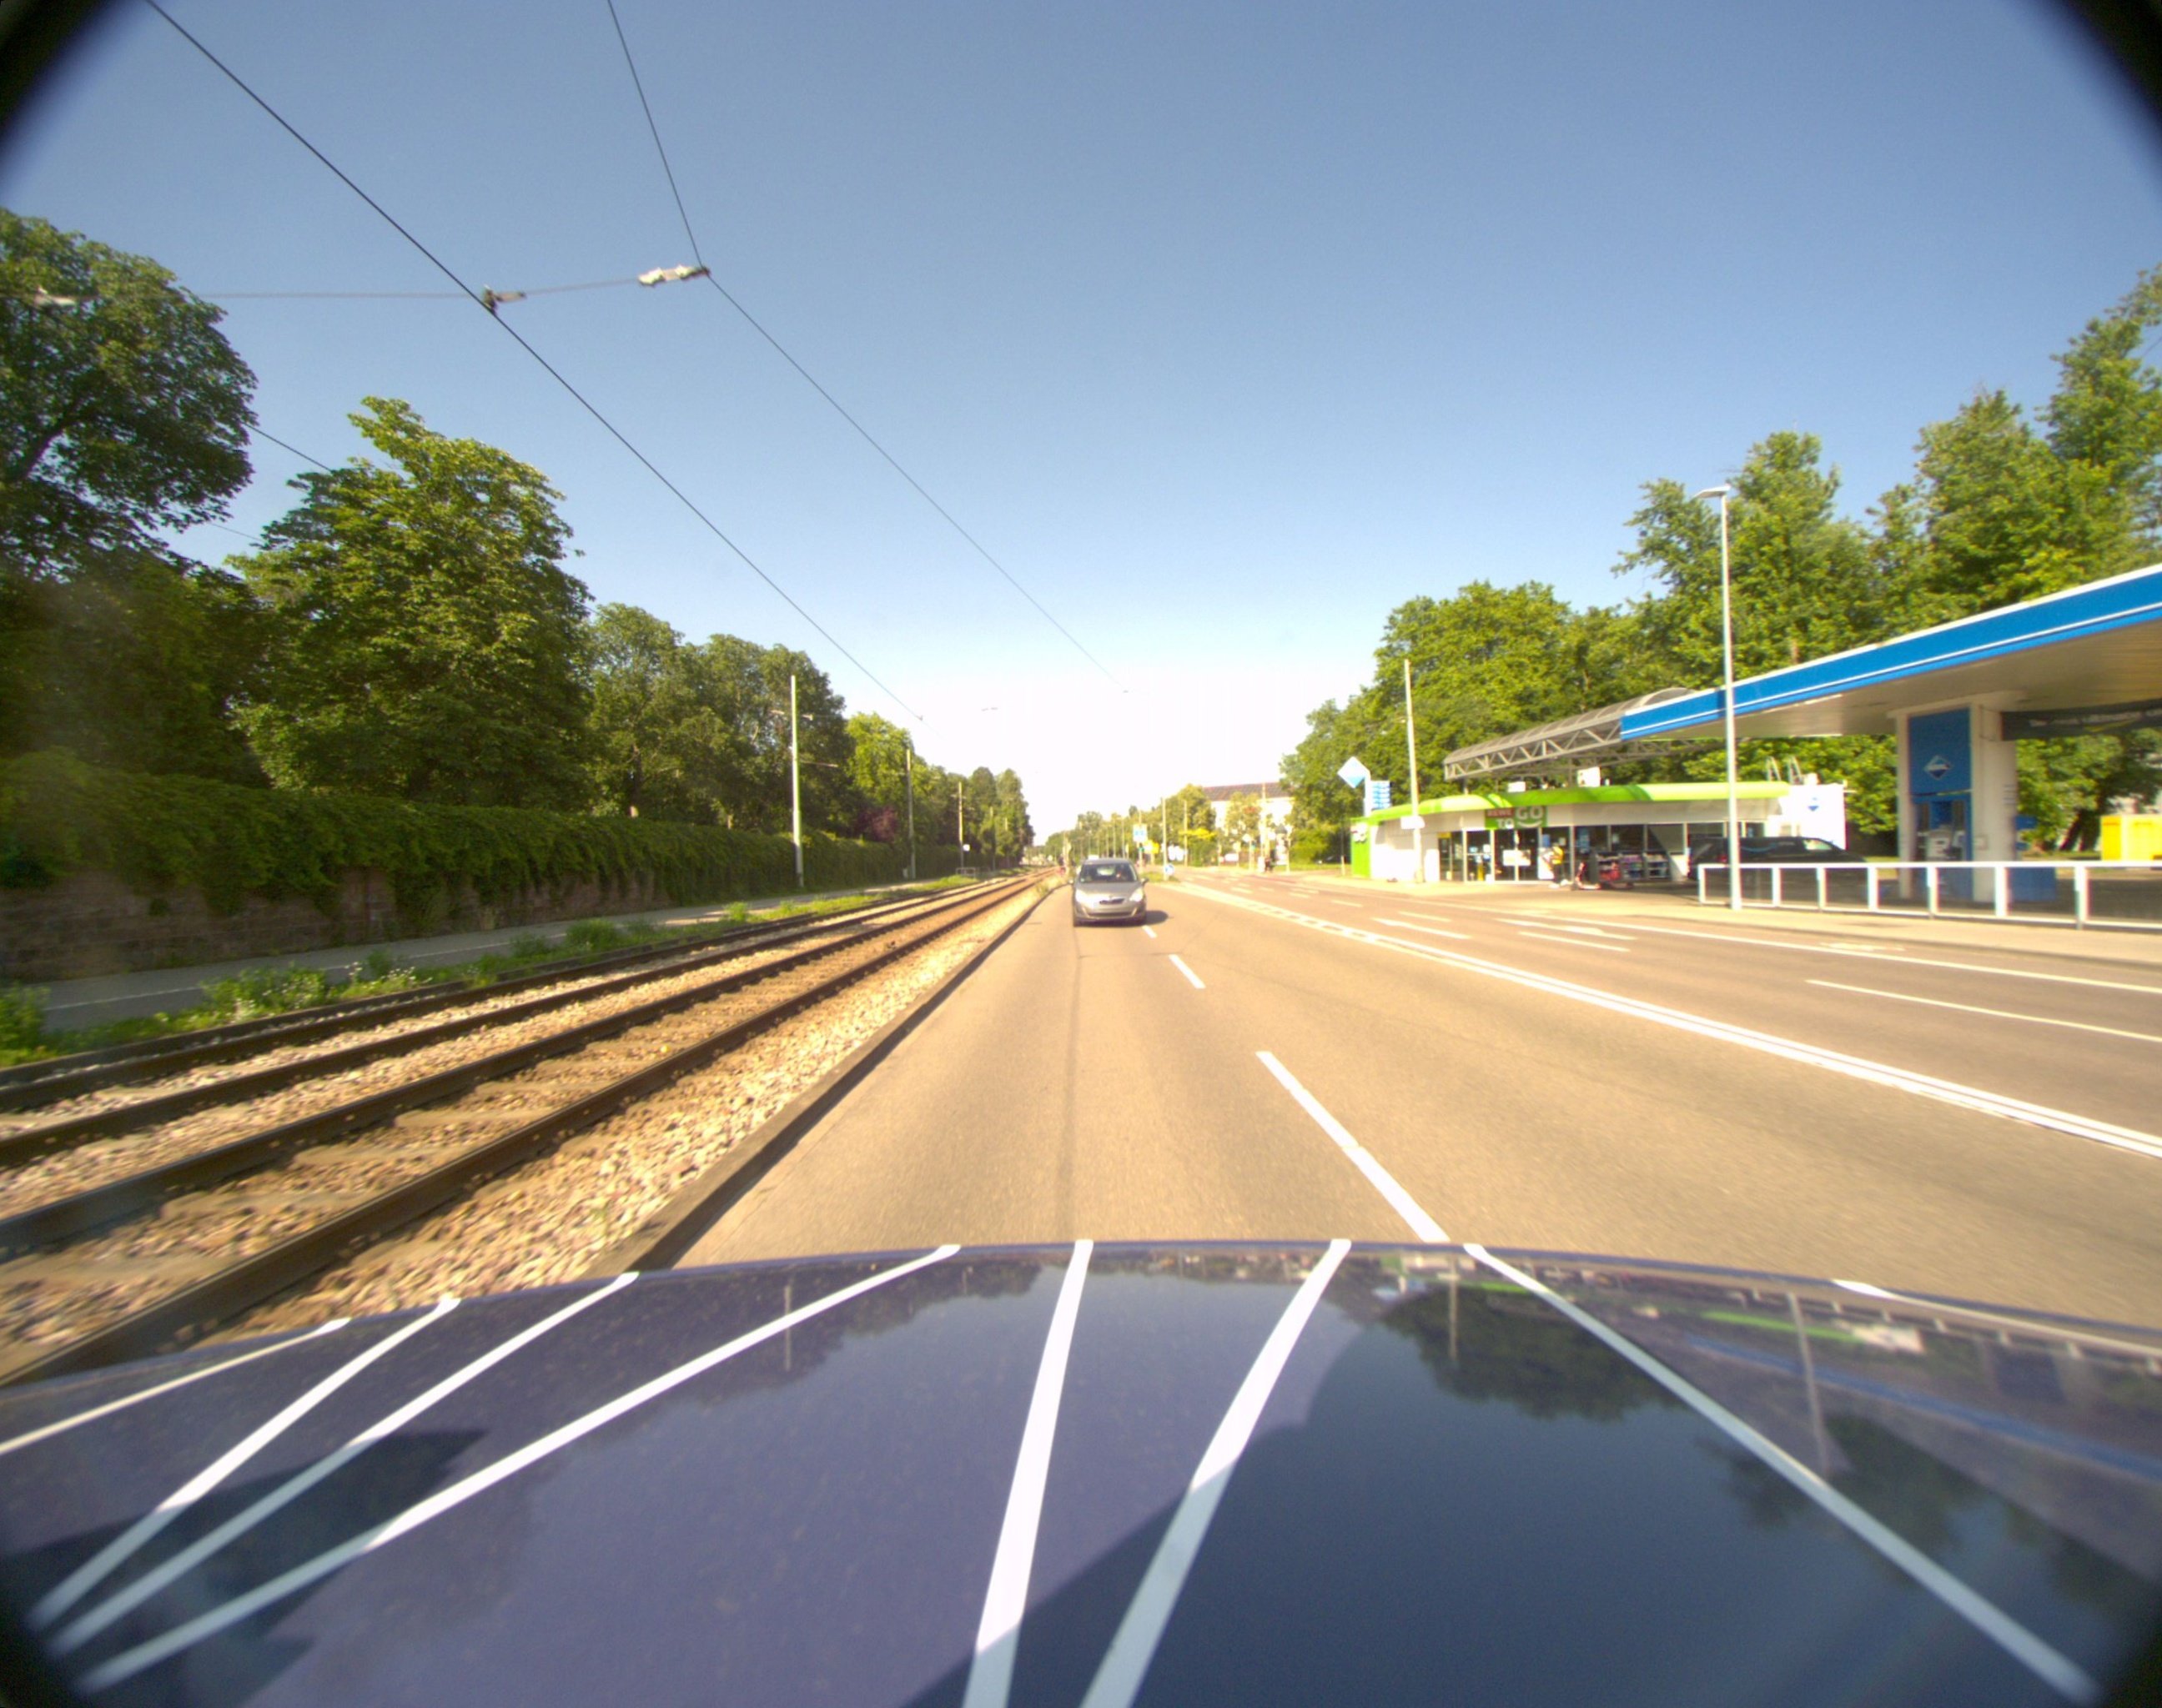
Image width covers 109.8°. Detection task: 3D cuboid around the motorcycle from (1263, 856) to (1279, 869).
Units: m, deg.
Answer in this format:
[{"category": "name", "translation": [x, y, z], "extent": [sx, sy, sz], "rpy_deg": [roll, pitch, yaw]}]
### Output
[{"category": "motorcycle", "translation": [17.938, 0.789, 71.721], "extent": [0.732, 1.220, 2.268], "rpy_deg": [-1, 0, 34]}]

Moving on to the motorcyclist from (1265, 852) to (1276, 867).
[{"category": "motorcyclist", "translation": [17.925, 0.508, 71.716], "extent": [0.732, 1.380, 0.866], "rpy_deg": [-1, 0, 34]}]

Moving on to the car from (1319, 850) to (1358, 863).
[{"category": "car", "translation": [31.753, 0.315, 93.716], "extent": [4.196, 1.434, 1.690], "rpy_deg": [-1, 0, 3]}]

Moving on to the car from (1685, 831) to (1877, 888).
[{"category": "car", "translation": [25.457, 0.215, 27.796], "extent": [5.082, 1.929, 1.858], "rpy_deg": [-1, 0, 5]}]

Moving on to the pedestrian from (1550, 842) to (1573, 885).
[{"category": "pedestrian", "translation": [19.275, 0.374, 30.449], "extent": [0.661, 1.721, 0.606], "rpy_deg": [-1, 0, 42]}]

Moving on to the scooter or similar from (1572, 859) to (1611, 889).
[{"category": "scooter or similar", "translation": [19.357, 0.767, 28.820], "extent": [1.143, 1.110, 0.350], "rpy_deg": [-1, 0, 10]}]

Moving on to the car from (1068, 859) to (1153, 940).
[{"category": "car", "translation": [0.628, 0.953, 17.605], "extent": [1.730, 1.574, 3.763], "rpy_deg": [-2, 0, 1]}]

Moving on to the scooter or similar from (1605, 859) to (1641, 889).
[{"category": "scooter or similar", "translation": [20.475, 0.755, 28.716], "extent": [1.031, 1.103, 0.350], "rpy_deg": [-1, 0, 7]}]

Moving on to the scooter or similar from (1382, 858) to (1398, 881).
[{"category": "scooter or similar", "translation": [16.386, 0.813, 40.298], "extent": [0.350, 1.154, 1.144], "rpy_deg": [-1, 0, 2]}]
